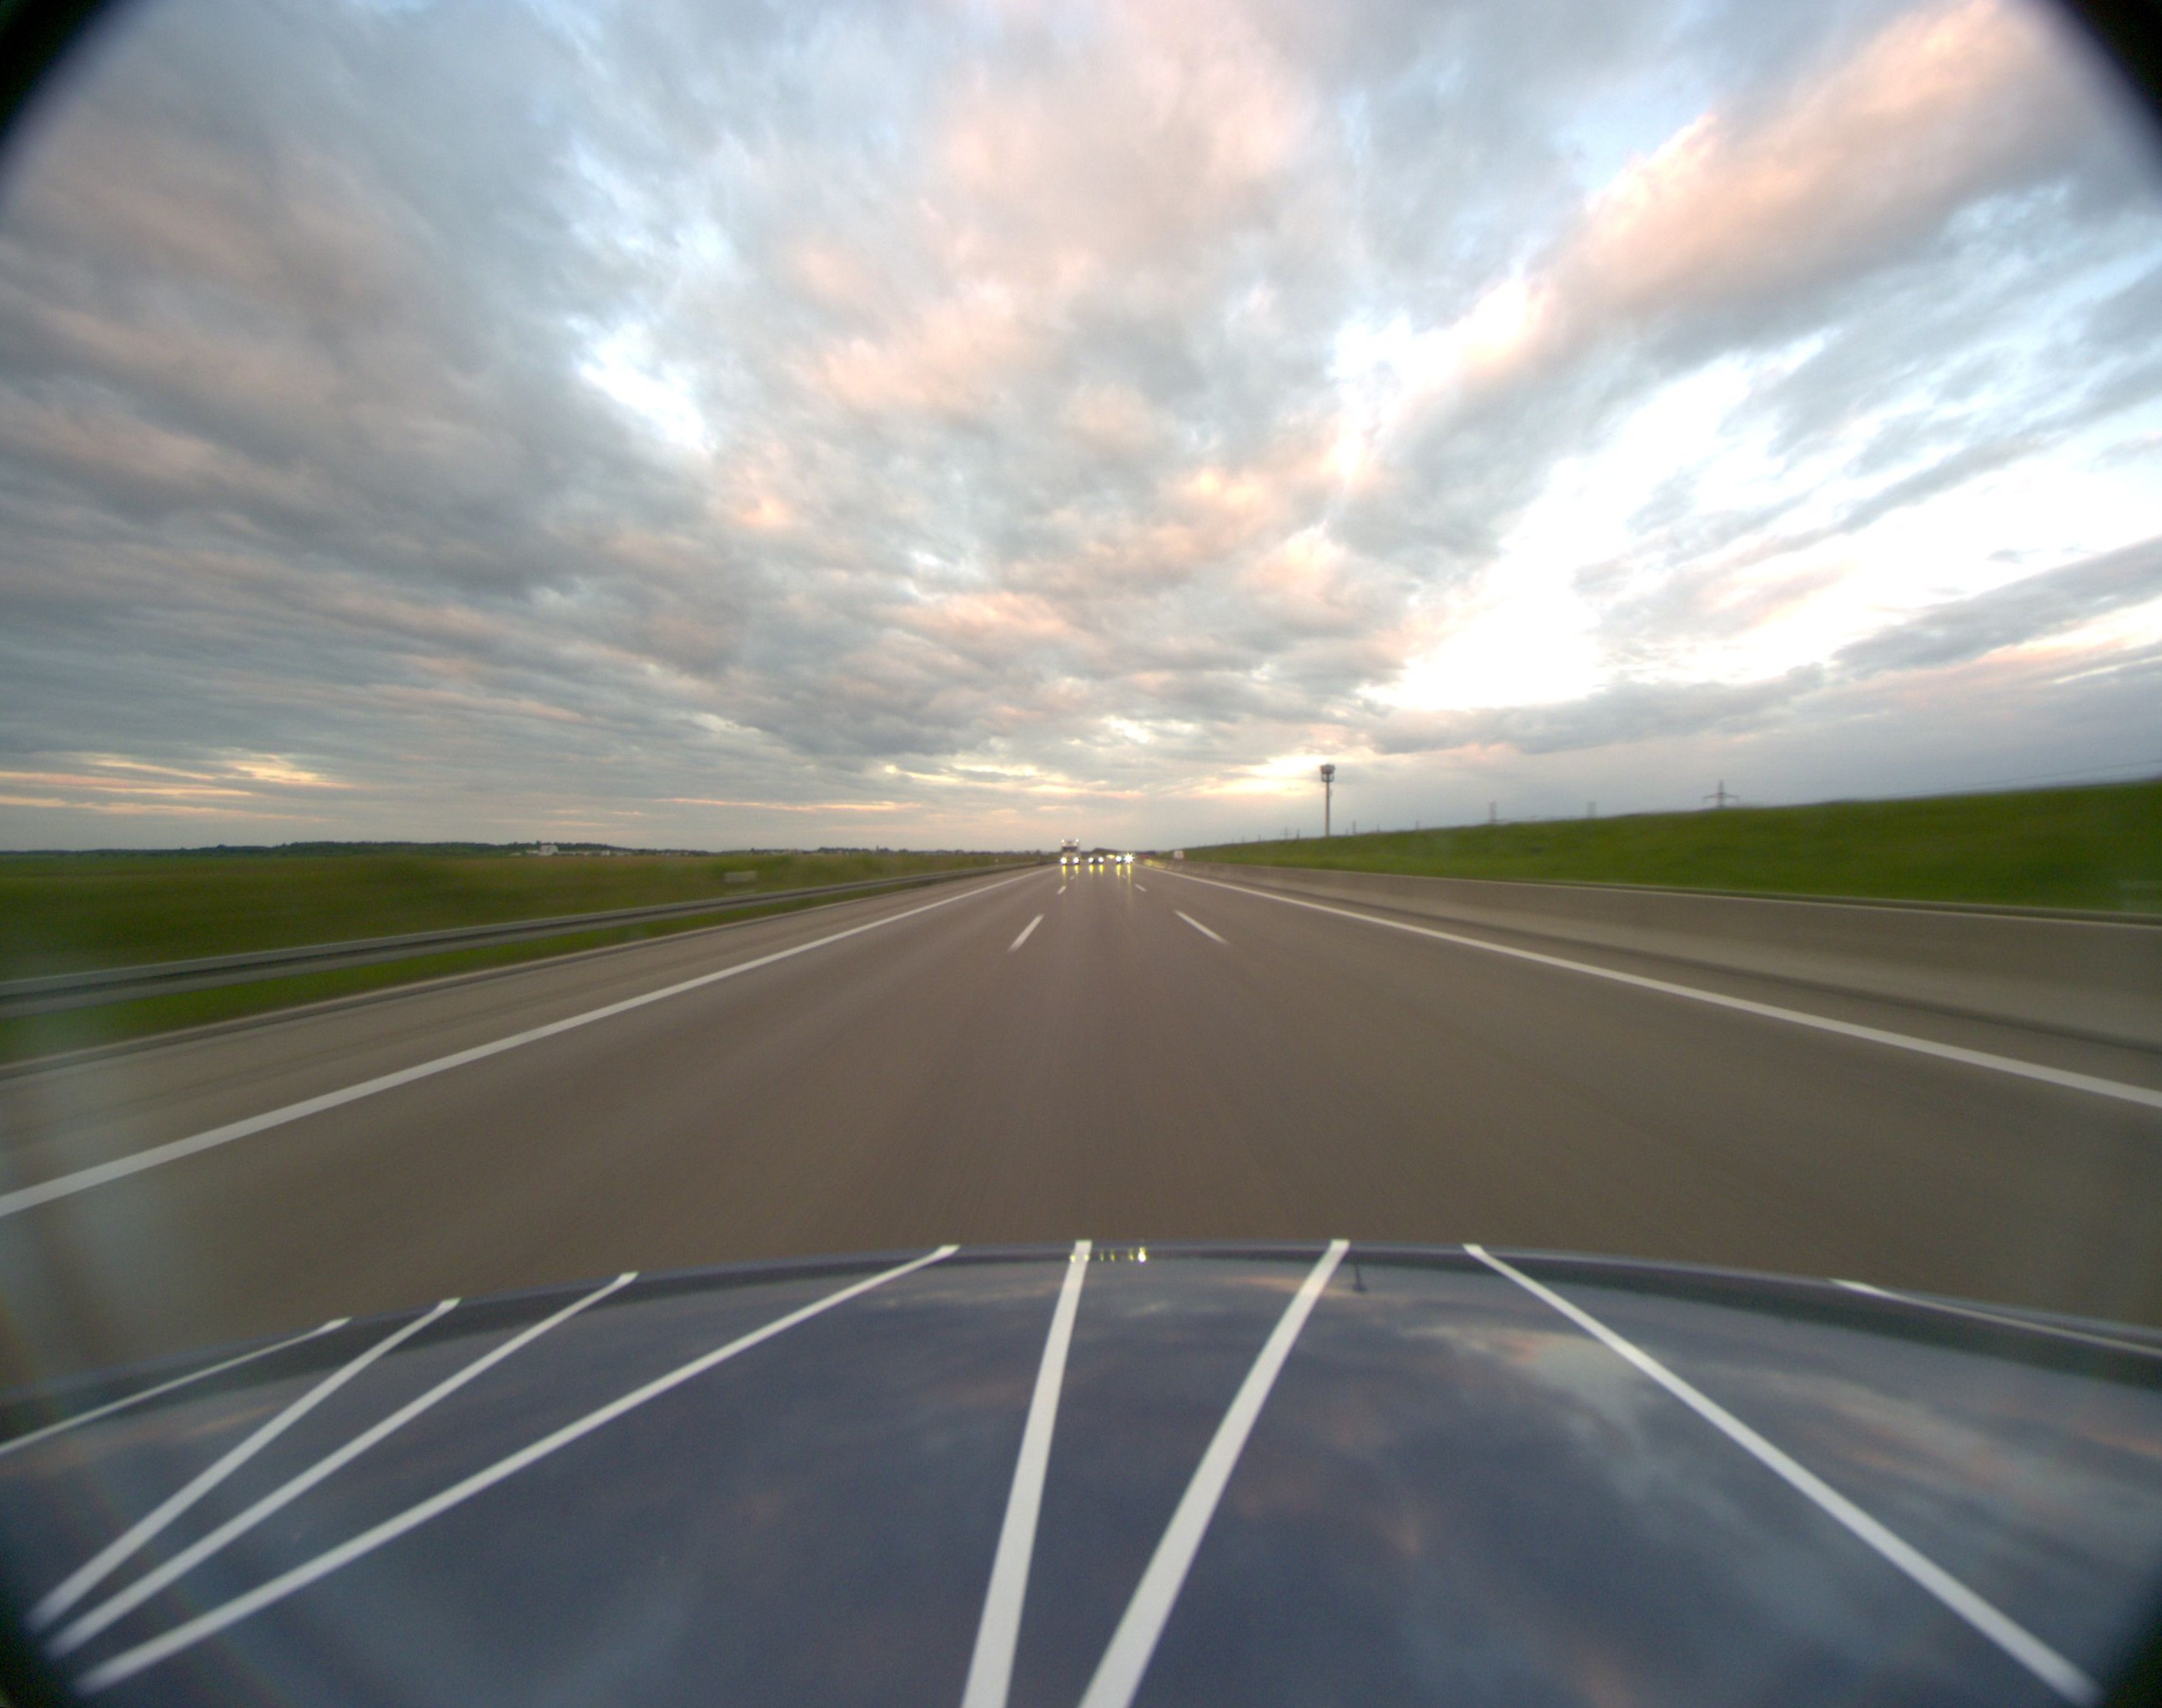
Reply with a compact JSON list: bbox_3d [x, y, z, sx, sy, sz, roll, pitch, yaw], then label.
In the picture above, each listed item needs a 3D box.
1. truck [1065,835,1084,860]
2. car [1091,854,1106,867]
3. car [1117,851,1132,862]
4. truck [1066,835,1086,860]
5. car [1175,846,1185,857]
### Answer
[{"bbox_3d":[-1.057,-1.017,122.531,2.596,3.999,5.860,-1,0,3],"label":"truck"},{"bbox_3d":[2.663,0.957,113.680,1.998,1.652,4.852,-3,1,4],"label":"car"},{"bbox_3d":[6.515,0.370,114.569,1.998,1.652,4.000,-3,1,0],"label":"car"},{"bbox_3d":[-0.724,-1.080,128.856,2.596,3.999,12.987,-1,0,3],"label":"truck"},{"bbox_3d":[24.587,-0.605,189.276,1.998,2.532,7.379,0,0,3],"label":"car"}]
